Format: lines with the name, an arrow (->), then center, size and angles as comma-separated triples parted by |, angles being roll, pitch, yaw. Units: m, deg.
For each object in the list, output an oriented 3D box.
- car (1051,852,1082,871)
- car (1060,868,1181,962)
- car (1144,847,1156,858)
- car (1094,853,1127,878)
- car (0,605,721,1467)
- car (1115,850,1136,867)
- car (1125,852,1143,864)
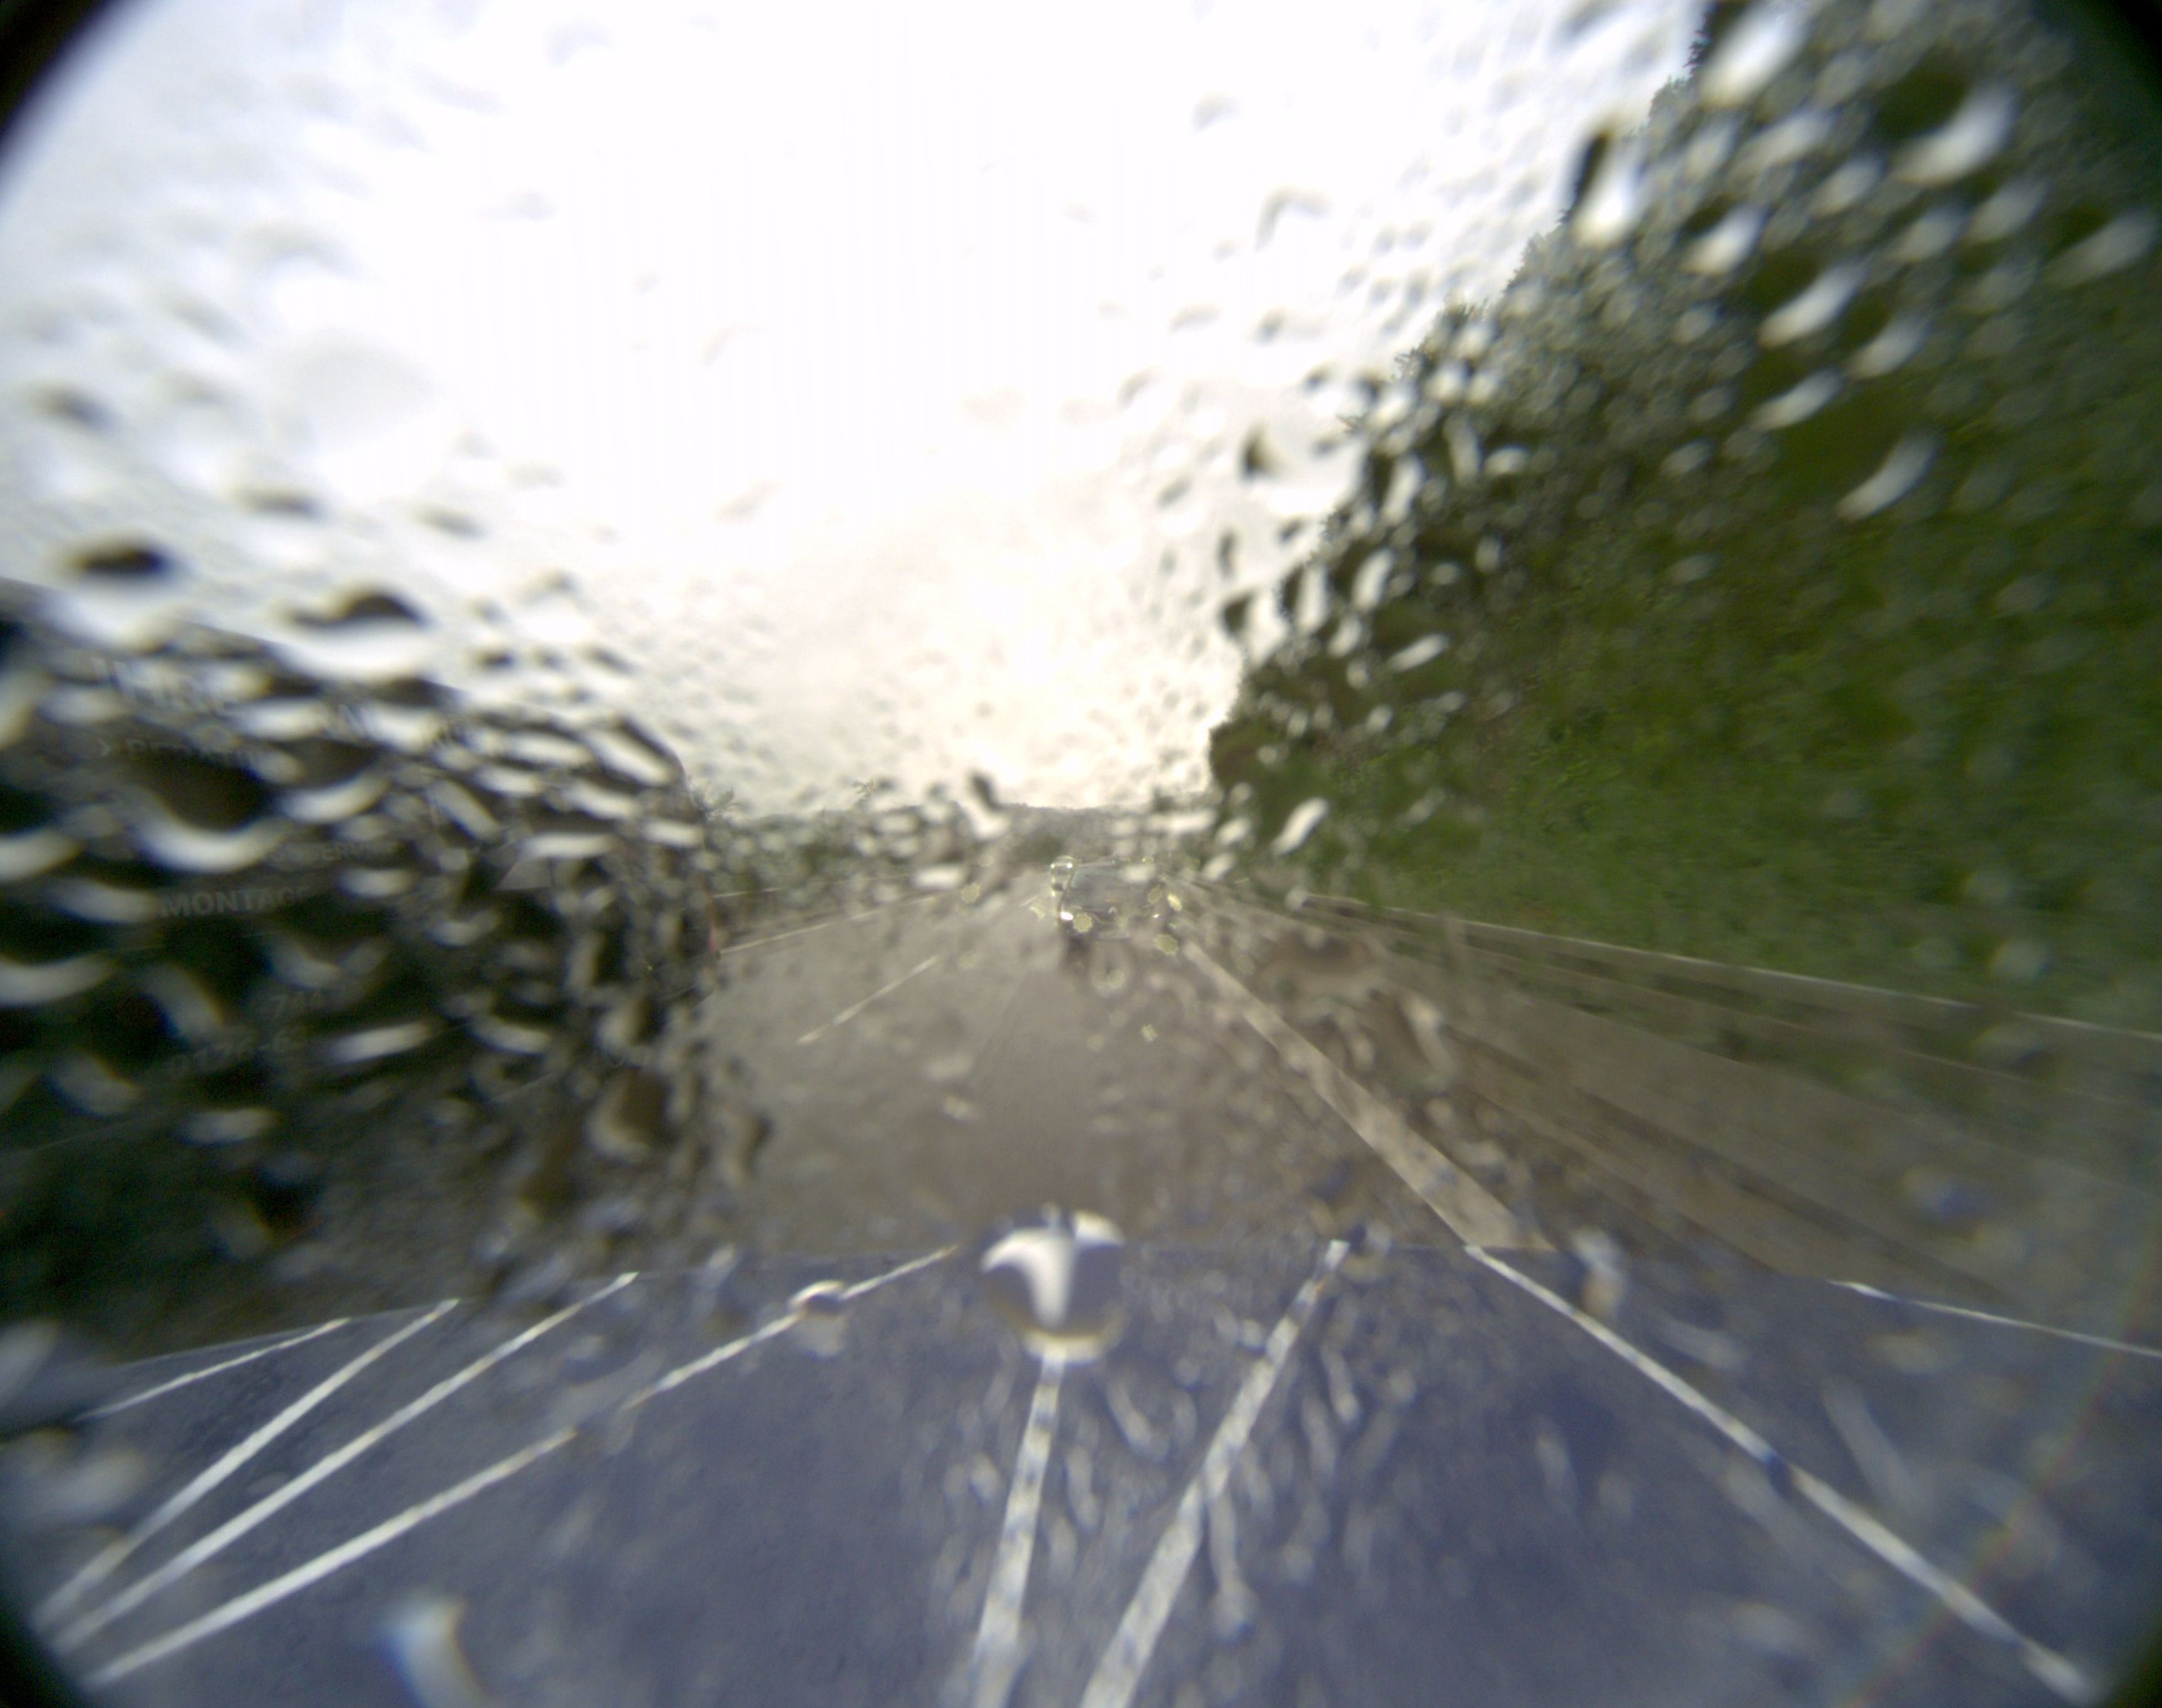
car -> -1.210, 0.609, 64.863 | 1.989, 1.407, 4.566 | -2, 0, 6
car -> 0.671, 0.988, 13.857 | 1.839, 1.316, 4.135 | -2, 0, 2
car -> 10.299, -0.283, 113.149 | 1.657, 1.535, 3.666 | -1, 0, 7
car -> 1.789, 0.671, 45.099 | 1.712, 1.316, 3.946 | -2, 0, 5
car -> -4.112, 0.536, 3.109 | 1.998, 2.479, 6.705 | -1, 0, 0
car -> 4.366, 0.455, 73.608 | 1.906, 1.545, 4.565 | -1, 0, 4
car -> 6.500, 0.441, 92.520 | 1.989, 1.316, 4.145 | -1, 0, 7
